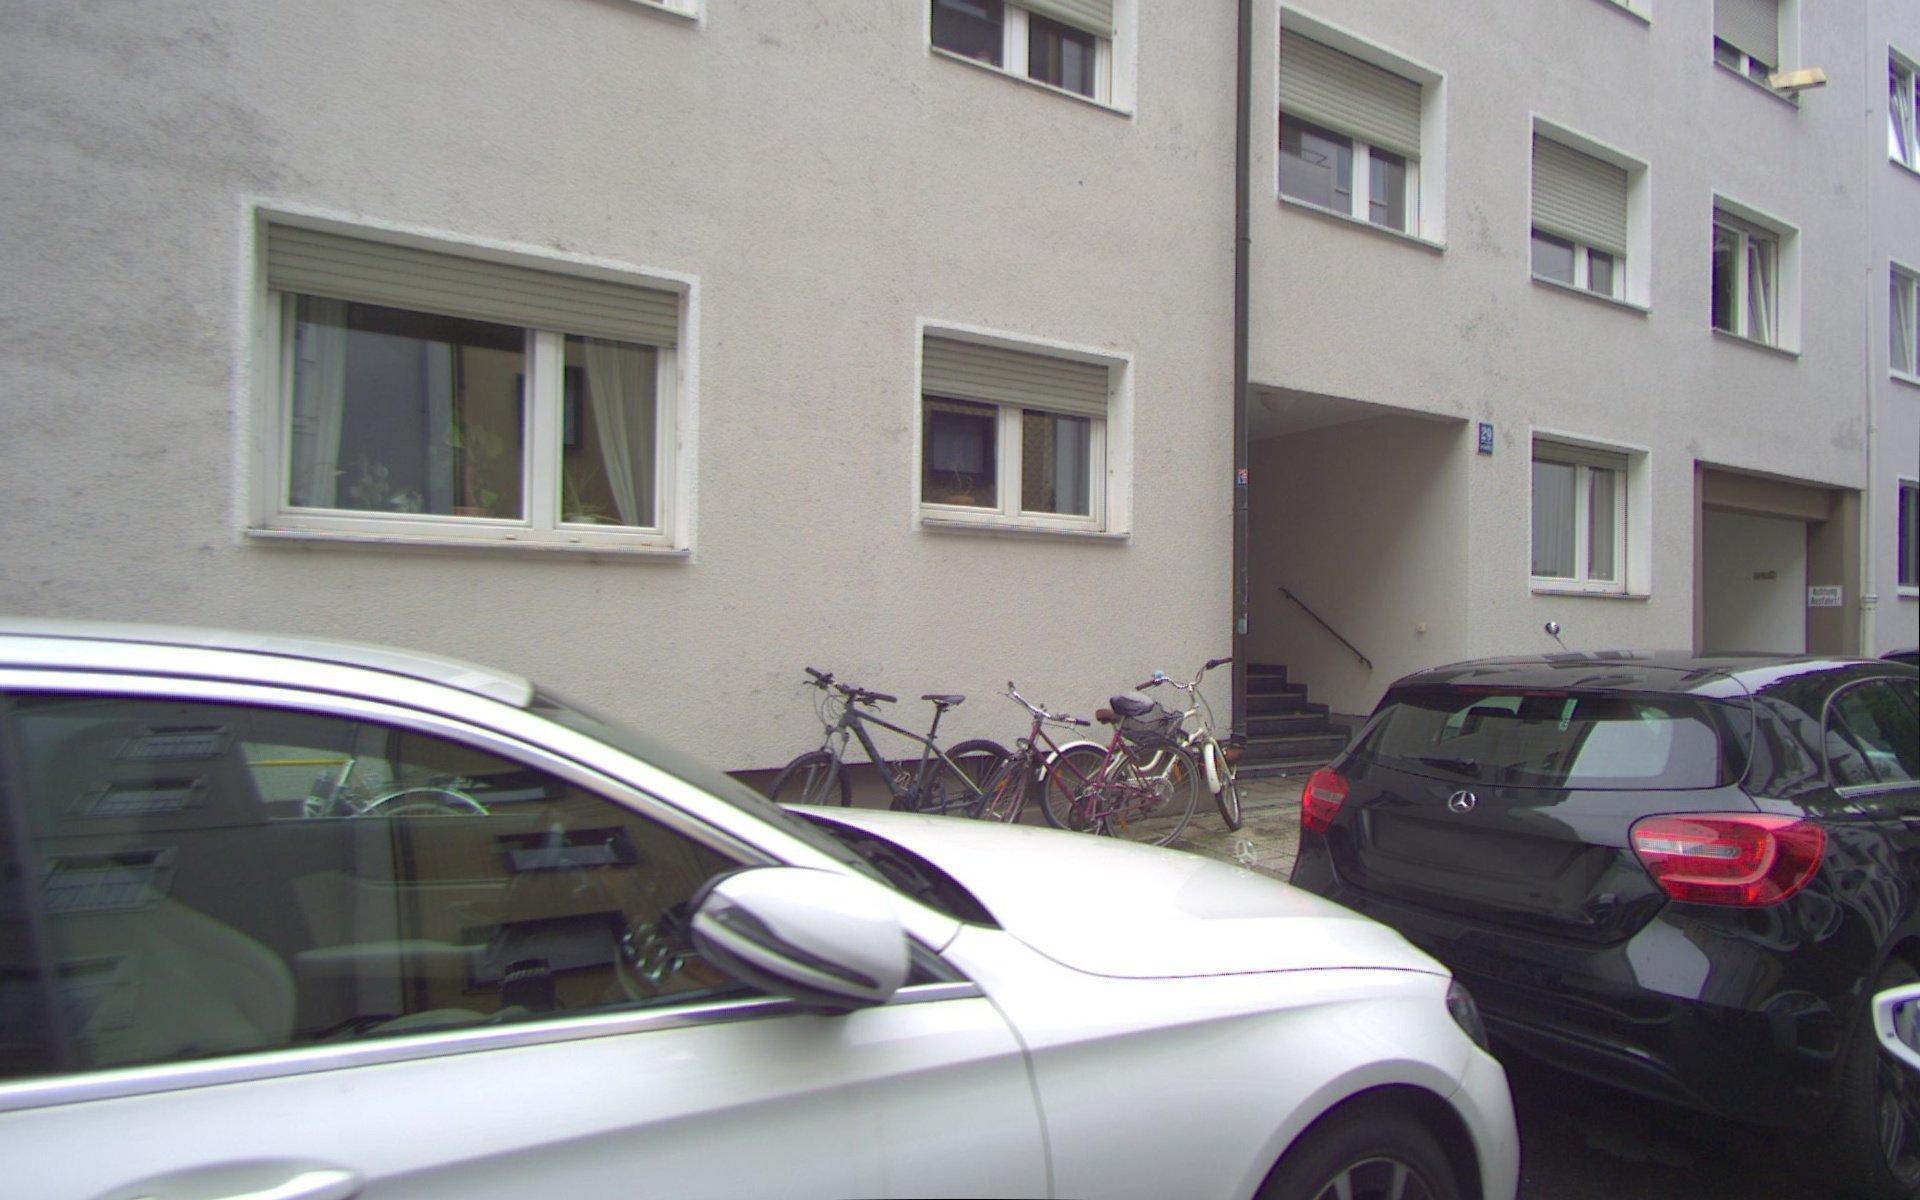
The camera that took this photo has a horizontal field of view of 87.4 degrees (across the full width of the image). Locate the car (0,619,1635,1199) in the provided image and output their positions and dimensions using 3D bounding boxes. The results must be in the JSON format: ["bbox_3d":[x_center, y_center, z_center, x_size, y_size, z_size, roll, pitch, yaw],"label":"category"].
[{"bbox_3d":[-1.084,0.774,1.732,4.753,1.456,1.903,2,-1,-31],"label":"car"}]

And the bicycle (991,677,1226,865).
[{"bbox_3d":[0.957,1.018,6.295,1.556,1.030,0.396,1,-2,-31],"label":"bicycle"}]

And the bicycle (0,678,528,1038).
[{"bbox_3d":[-2.658,0.911,3.994,1.667,1.154,0.401,2,-1,-35],"label":"bicycle"}]

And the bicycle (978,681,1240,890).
[{"bbox_3d":[0.884,1.000,5.755,1.605,1.030,0.386,1,-2,-31],"label":"bicycle"}]

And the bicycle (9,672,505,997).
[{"bbox_3d":[-2.902,0.908,4.324,1.667,1.154,0.339,2,-1,-35],"label":"bicycle"}]

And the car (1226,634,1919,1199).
[{"bbox_3d":[3.231,0.888,4.127,4.180,1.435,1.791,2,-1,-32],"label":"car"}]

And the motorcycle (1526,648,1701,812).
[{"bbox_3d":[5.496,1.022,8.409,1.840,1.219,0.595,2,-1,-35],"label":"motorcycle"}]

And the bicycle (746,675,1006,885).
[{"bbox_3d":[-0.444,0.950,5.612,1.424,1.030,0.377,1,-2,-29],"label":"bicycle"}]

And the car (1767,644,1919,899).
[{"bbox_3d":[7.189,1.032,6.610,3.697,1.465,1.605,2,-4,-29],"label":"car"}]
